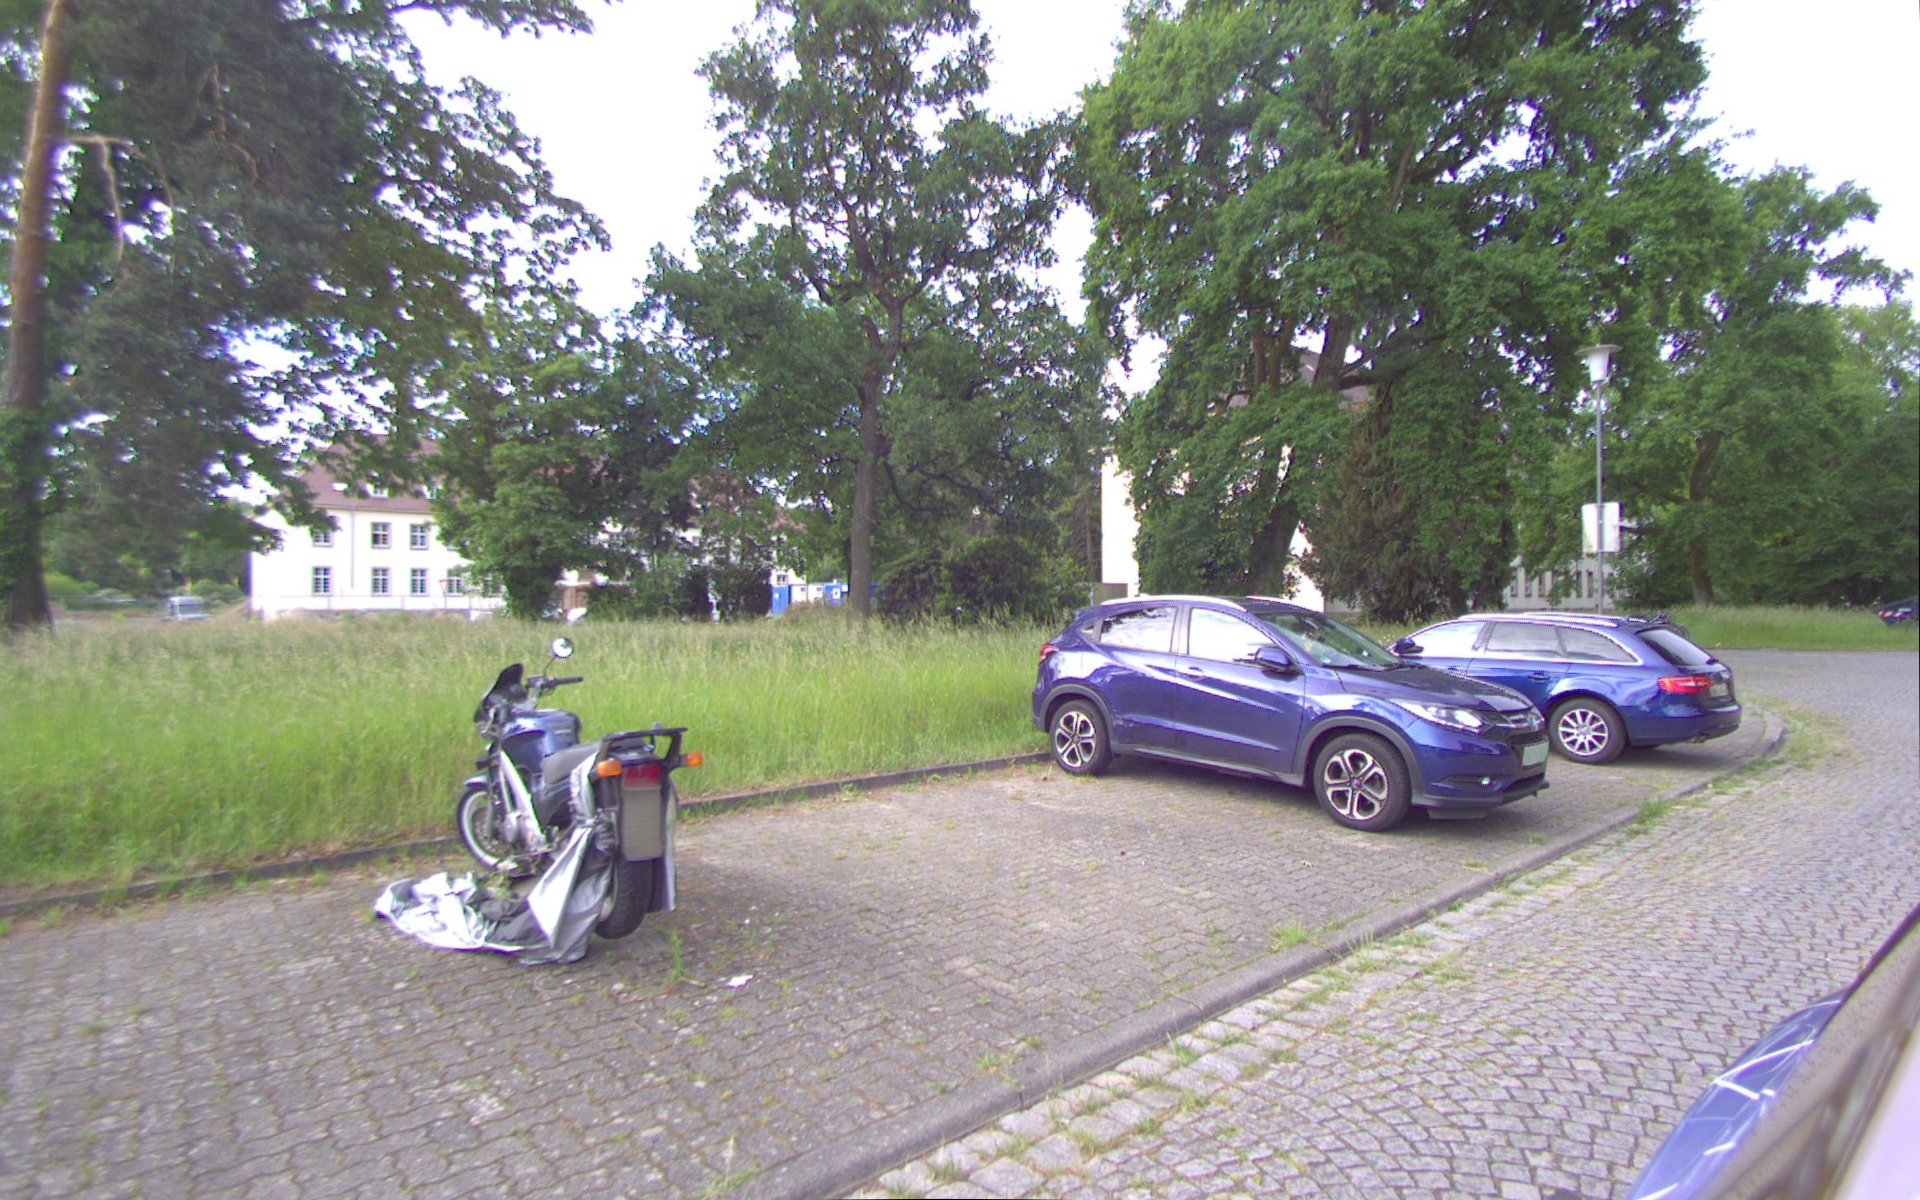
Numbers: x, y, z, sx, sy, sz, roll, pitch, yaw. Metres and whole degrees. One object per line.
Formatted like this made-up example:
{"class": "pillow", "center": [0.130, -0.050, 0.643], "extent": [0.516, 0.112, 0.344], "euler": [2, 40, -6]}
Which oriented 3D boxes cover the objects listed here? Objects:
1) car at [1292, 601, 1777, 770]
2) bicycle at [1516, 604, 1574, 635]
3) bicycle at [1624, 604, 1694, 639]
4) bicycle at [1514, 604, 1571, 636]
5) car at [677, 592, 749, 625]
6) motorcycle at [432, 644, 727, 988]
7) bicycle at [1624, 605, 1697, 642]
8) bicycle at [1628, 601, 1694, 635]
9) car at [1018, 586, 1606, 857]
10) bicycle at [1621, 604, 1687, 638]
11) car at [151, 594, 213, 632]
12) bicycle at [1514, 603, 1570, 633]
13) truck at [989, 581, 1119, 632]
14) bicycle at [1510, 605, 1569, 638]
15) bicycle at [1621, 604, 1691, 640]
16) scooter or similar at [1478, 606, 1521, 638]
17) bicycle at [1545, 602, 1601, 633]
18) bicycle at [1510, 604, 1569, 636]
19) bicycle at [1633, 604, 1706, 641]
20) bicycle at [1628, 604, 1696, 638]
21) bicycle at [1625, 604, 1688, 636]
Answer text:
{"class": "car", "center": [6.192, 0.770, 11.376], "extent": [1.892, 1.457, 4.367], "euler": [0, 1, -39]}
{"class": "bicycle", "center": [22.477, 0.750, 38.889], "extent": [1.836, 1.185, 0.485], "euler": [-1, -1, 21]}
{"class": "bicycle", "center": [24.772, 0.773, 35.906], "extent": [1.918, 1.185, 0.484], "euler": [-2, -2, 25]}
{"class": "bicycle", "center": [22.007, 0.754, 38.278], "extent": [1.842, 1.185, 0.483], "euler": [-1, -1, 28]}
{"class": "car", "center": [-18.229, 0.609, 74.718], "extent": [4.854, 2.333, 1.920], "euler": [0, 0, -41]}
{"class": "motorcycle", "center": [-1.957, 0.886, 4.957], "extent": [0.558, 1.217, 2.233], "euler": [0, 1, -42]}
{"class": "bicycle", "center": [23.523, 0.781, 34.024], "extent": [1.916, 1.185, 0.484], "euler": [-2, -2, 22]}
{"class": "bicycle", "center": [26.113, 0.672, 37.736], "extent": [1.921, 1.185, 0.483], "euler": [-2, -2, 28]}
{"class": "car", "center": [2.635, 0.713, 8.370], "extent": [1.854, 1.643, 4.250], "euler": [0, 1, -42]}
{"class": "bicycle", "center": [25.620, 0.772, 37.386], "extent": [1.921, 1.185, 0.483], "euler": [-2, -2, 28]}
{"class": "car", "center": [-57.873, 0.979, 75.244], "extent": [5.648, 2.675, 2.247], "euler": [-2, -1, 37]}
{"class": "bicycle", "center": [23.119, 0.713, 40.245], "extent": [1.836, 1.185, 0.485], "euler": [-1, -1, 21]}
{"class": "truck", "center": [4.554, 0.301, 50.357], "extent": [1.958, 2.397, 7.077], "euler": [1, -1, -41]}
{"class": "bicycle", "center": [21.280, 0.783, 37.194], "extent": [1.839, 1.185, 0.484], "euler": [-1, -1, 24]}
{"class": "bicycle", "center": [24.361, 0.778, 35.459], "extent": [1.918, 1.185, 0.484], "euler": [-2, -2, 25]}
{"class": "scooter or similar", "center": [19.999, 0.821, 37.514], "extent": [0.406, 1.185, 1.306], "euler": [0, -2, -42]}
{"class": "bicycle", "center": [24.455, 0.681, 40.388], "extent": [1.851, 1.185, 0.481], "euler": [1, 1, 40]}
{"class": "bicycle", "center": [21.567, 0.758, 37.718], "extent": [1.839, 1.185, 0.484], "euler": [-1, -1, 24]}
{"class": "bicycle", "center": [24.094, 0.770, 34.381], "extent": [1.916, 1.185, 0.484], "euler": [-2, -2, 22]}
{"class": "bicycle", "center": [25.282, 0.768, 36.488], "extent": [1.921, 1.185, 0.483], "euler": [-2, -2, 28]}
{"class": "bicycle", "center": [26.740, 0.764, 38.876], "extent": [1.925, 1.185, 0.531], "euler": [-2, -2, 34]}
